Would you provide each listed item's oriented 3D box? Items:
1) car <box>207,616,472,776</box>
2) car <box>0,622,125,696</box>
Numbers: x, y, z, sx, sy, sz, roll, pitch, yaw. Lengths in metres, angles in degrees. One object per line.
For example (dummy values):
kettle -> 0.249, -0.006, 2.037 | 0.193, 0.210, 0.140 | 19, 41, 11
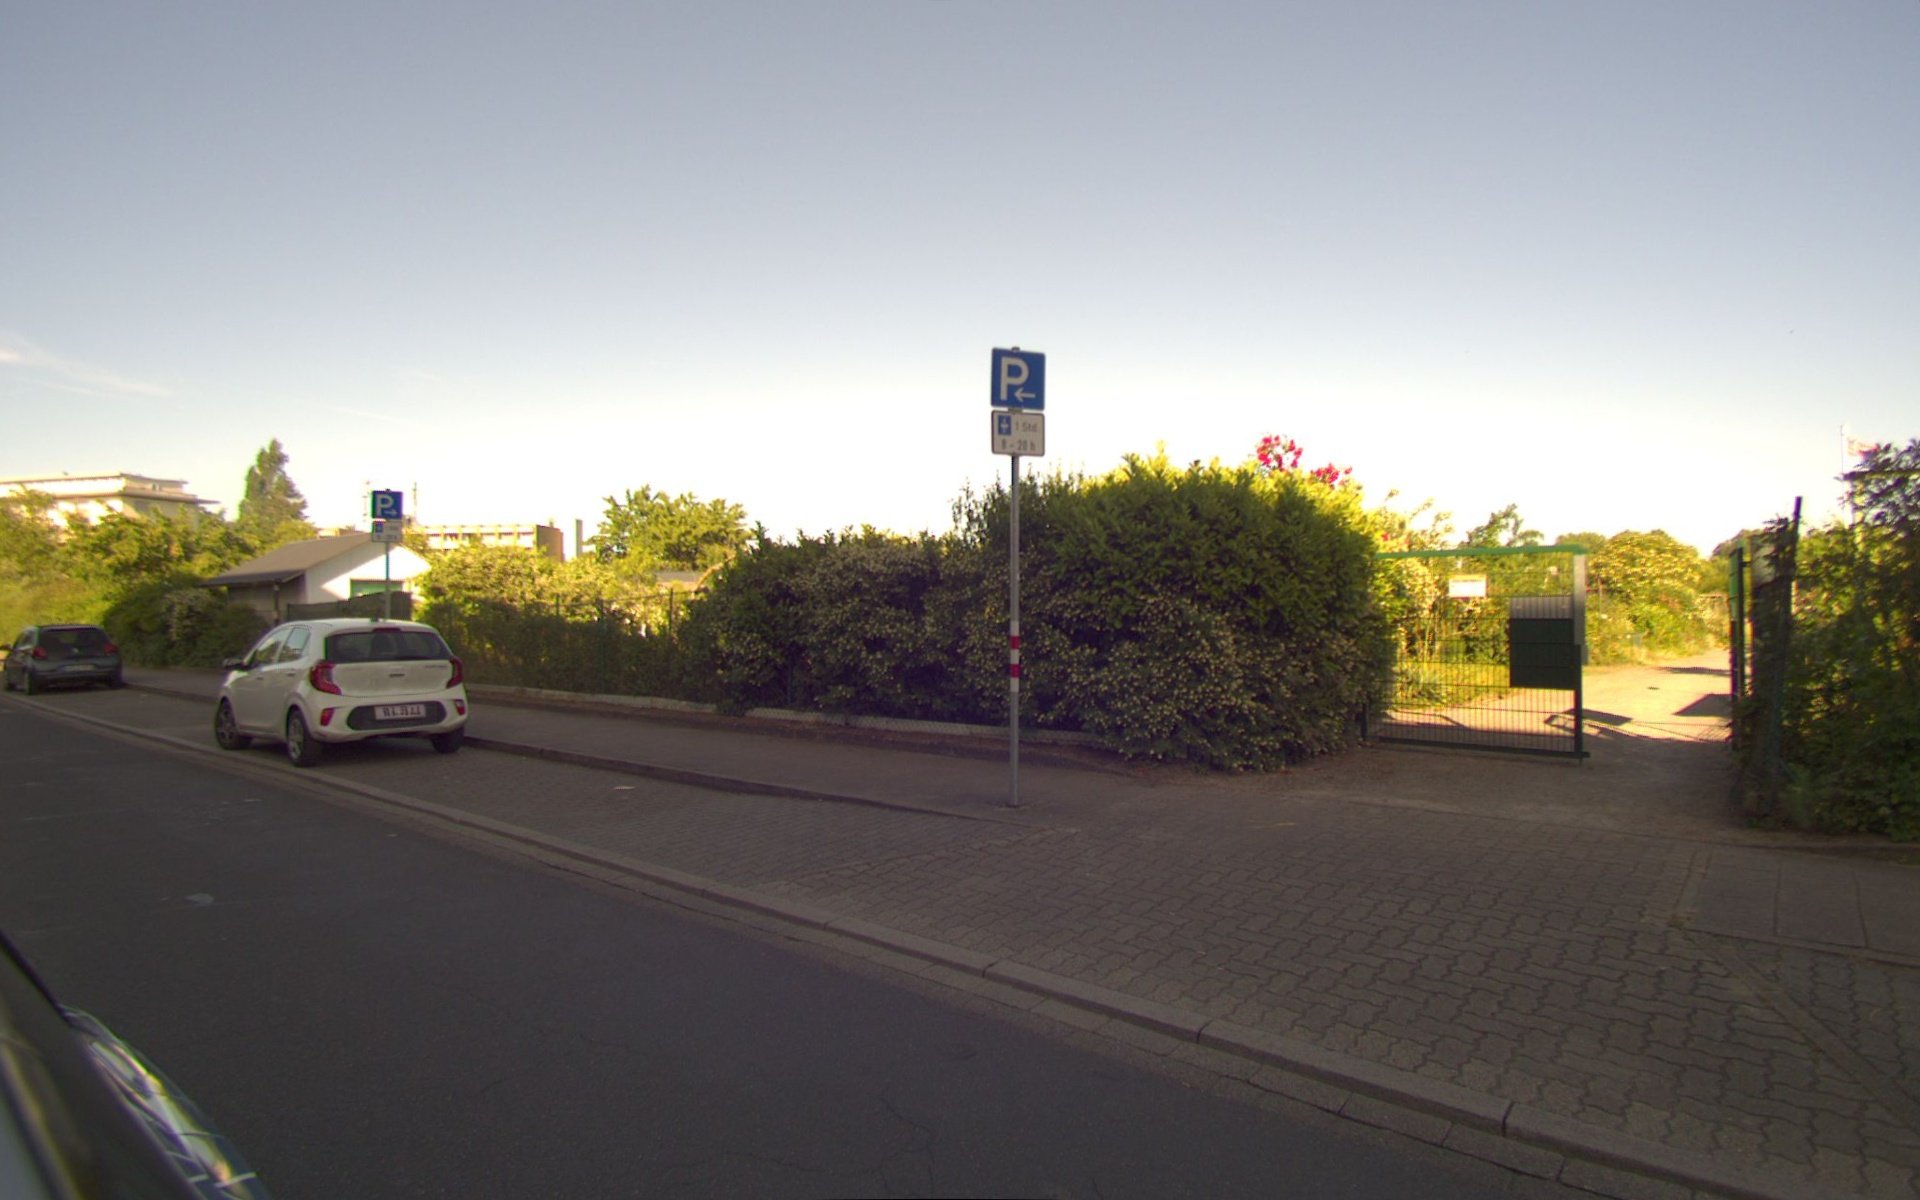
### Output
car -> -6.982, 0.955, 11.279 | 3.398, 1.499, 1.512 | -1, -1, 39
car -> -20.429, 1.269, 22.768 | 4.512, 1.434, 1.679 | -1, 0, 39
